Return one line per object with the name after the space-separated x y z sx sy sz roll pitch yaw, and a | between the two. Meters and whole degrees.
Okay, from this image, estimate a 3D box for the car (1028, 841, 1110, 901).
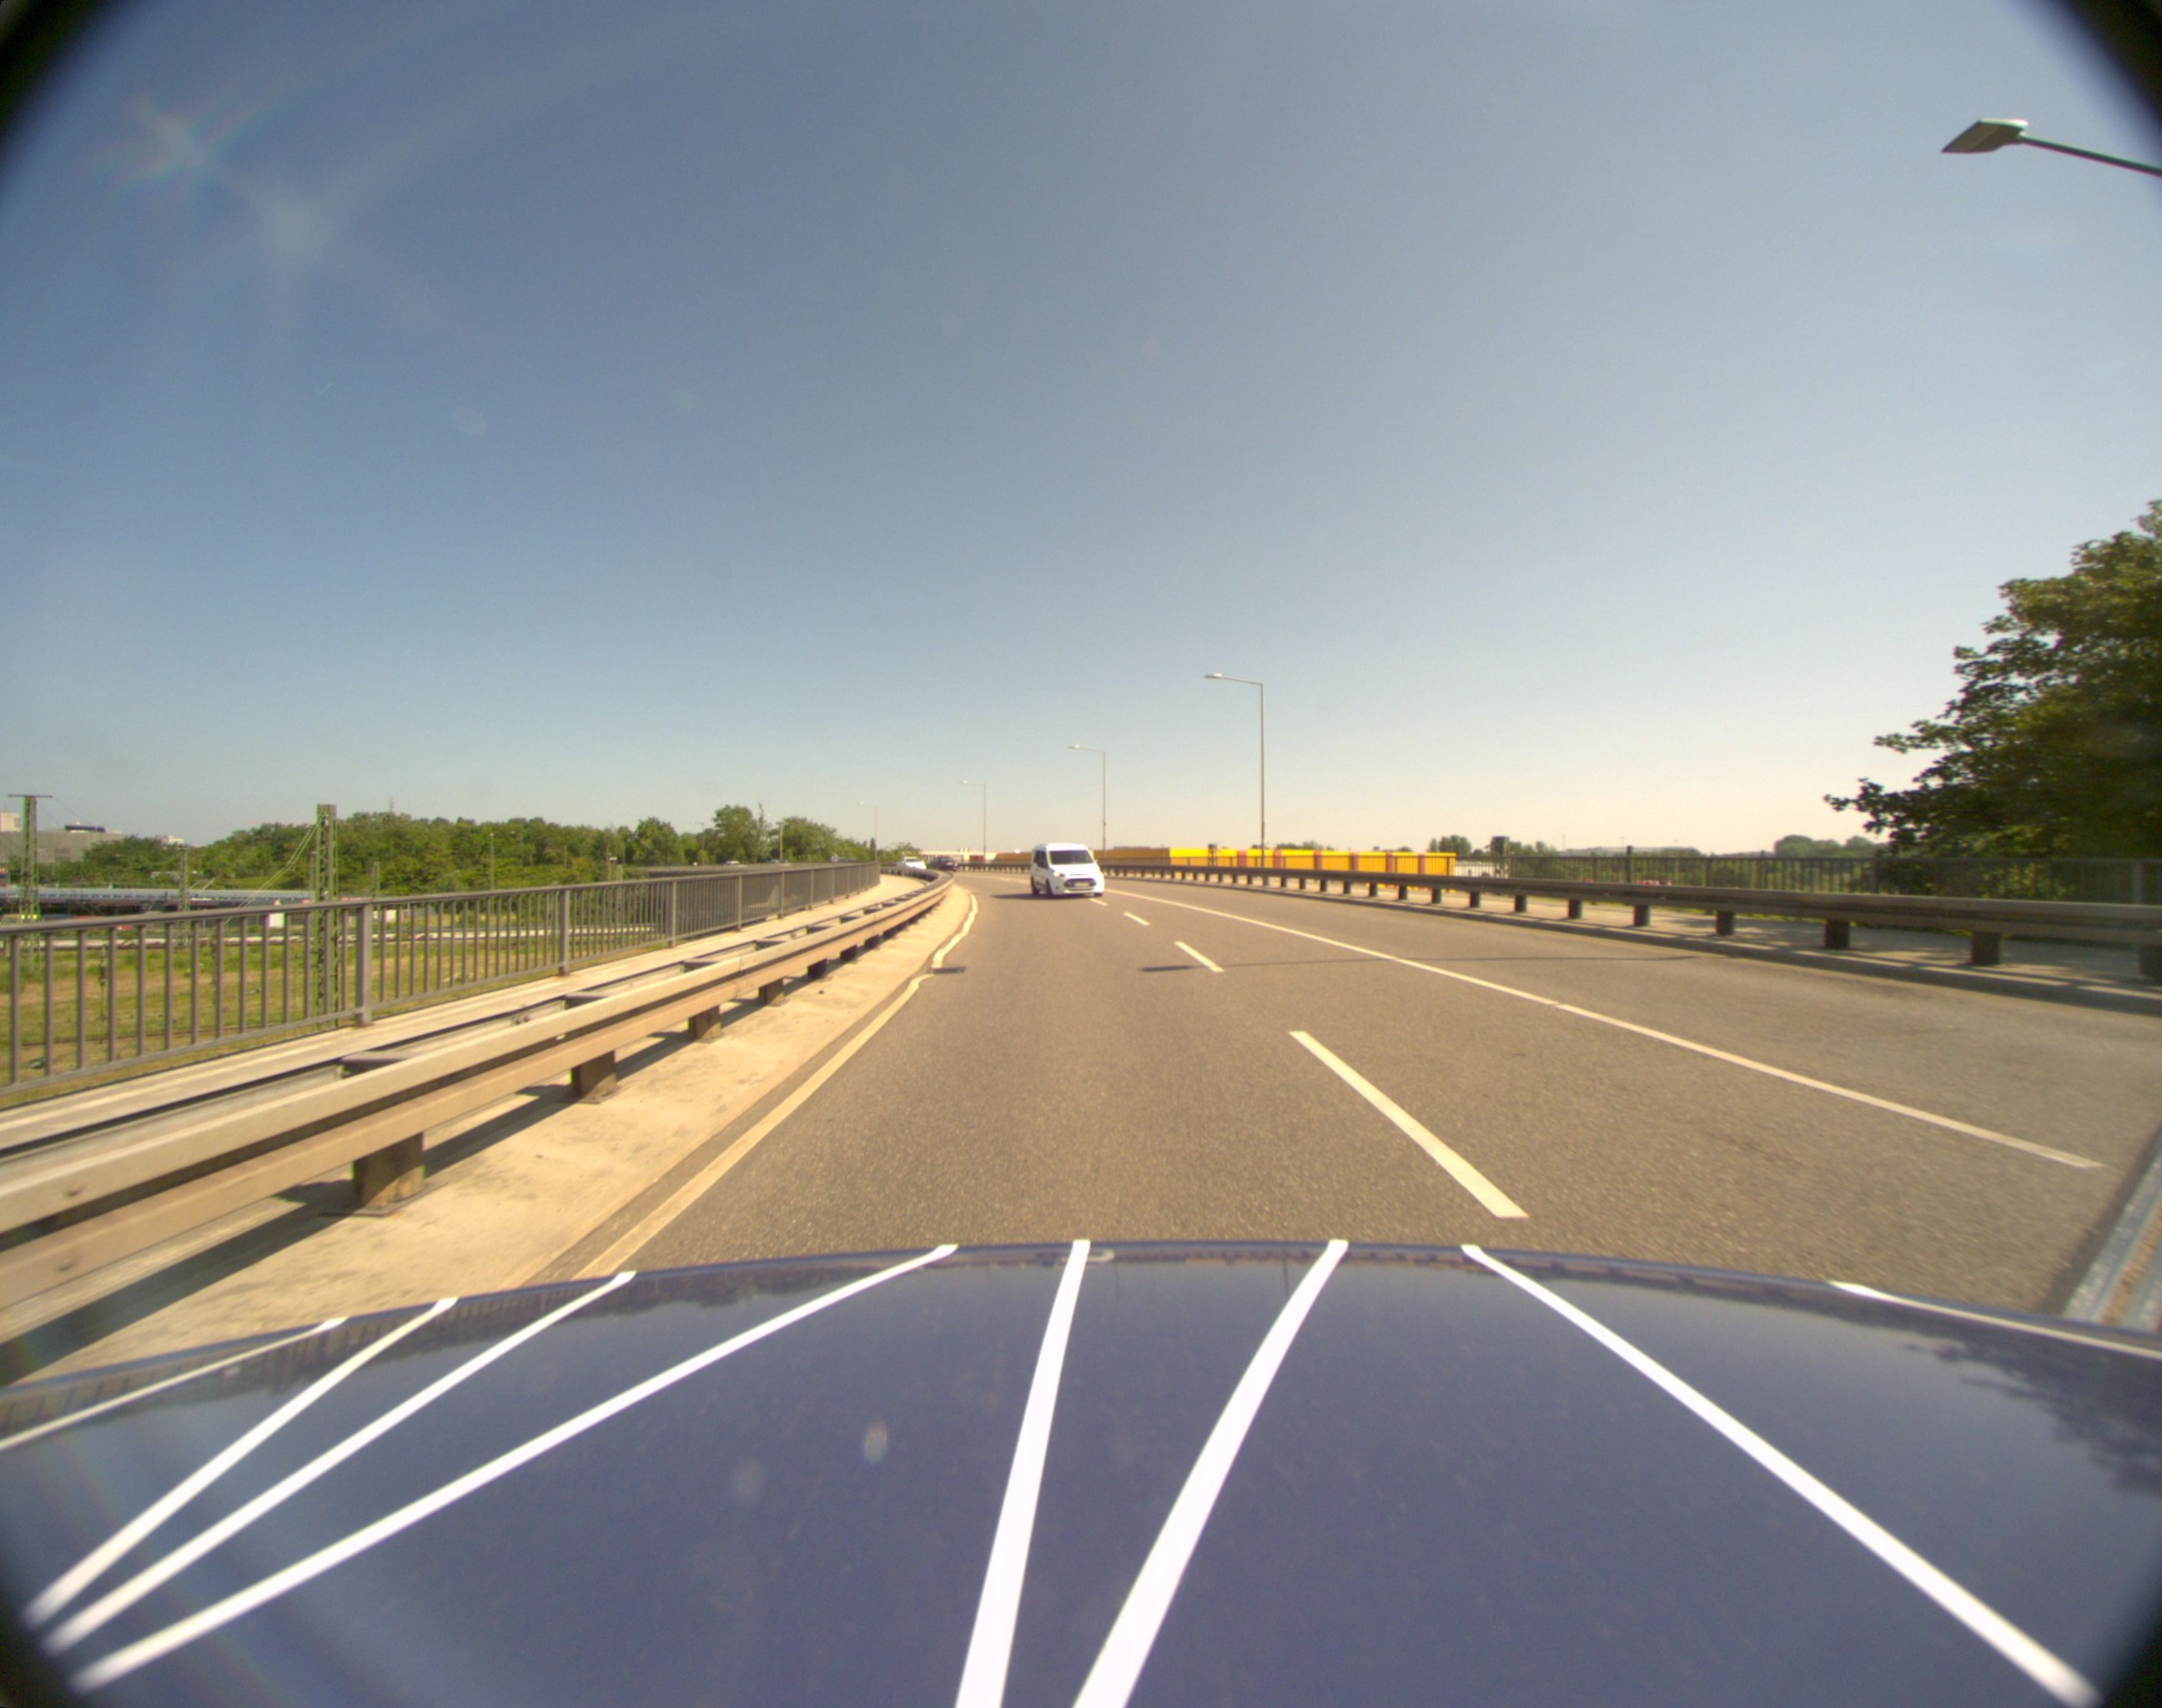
-0.507 0.516 25.921 1.899 1.785 4.442 -2 1 -12 | car

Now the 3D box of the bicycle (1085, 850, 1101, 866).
0.831 0.286 52.849 0.576 1.040 1.707 0 -1 -17 | bicycle

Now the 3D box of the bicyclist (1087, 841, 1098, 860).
0.812 -0.233 52.874 0.490 1.321 0.945 -2 2 -18 | bicyclist

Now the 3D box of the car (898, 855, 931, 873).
-14.822 0.871 67.491 1.850 1.480 4.142 -2 1 -28 | car

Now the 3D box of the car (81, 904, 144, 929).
-118.802 7.630 93.226 5.369 2.650 2.308 0 6 10 | car

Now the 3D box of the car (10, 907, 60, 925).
-132.846 7.897 96.519 3.994 1.861 2.000 -2 5 10 | car

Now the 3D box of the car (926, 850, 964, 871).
-12.637 0.638 70.275 1.850 1.816 4.678 -2 1 -31 | car
